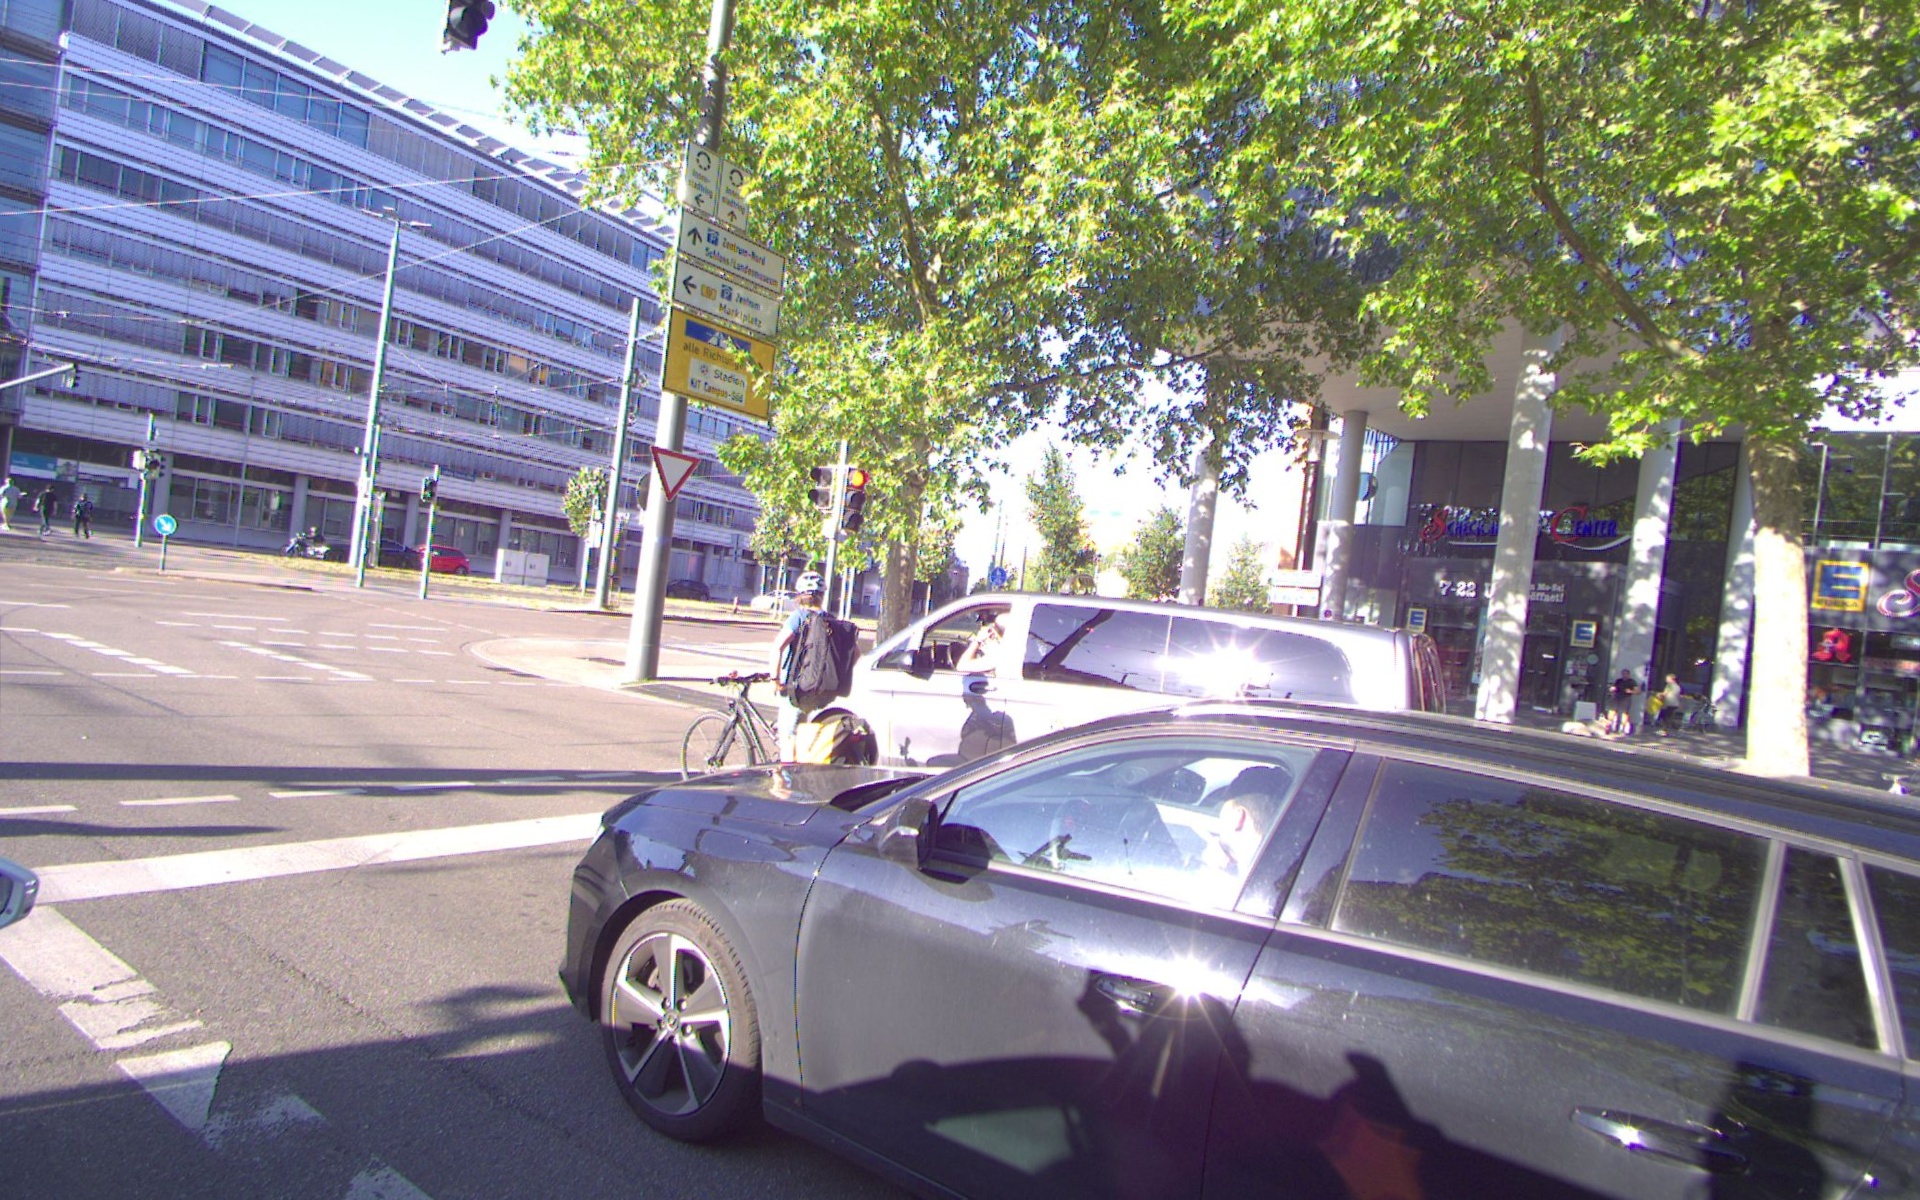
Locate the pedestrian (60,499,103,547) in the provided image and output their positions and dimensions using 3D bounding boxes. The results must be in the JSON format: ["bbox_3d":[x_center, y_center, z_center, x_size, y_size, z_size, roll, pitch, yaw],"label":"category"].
[{"bbox_3d":[-32.330,-2.839,37.017,0.883,1.583,0.947,7,1,39],"label":"pedestrian"}]

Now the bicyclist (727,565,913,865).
[{"bbox_3d":[-0.882,0.693,6.391,0.766,1.714,0.632,7,1,32],"label":"bicyclist"}]

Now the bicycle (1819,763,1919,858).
[{"bbox_3d":[11.204,2.544,12.082,0.437,0.930,1.210,6,0,-39],"label":"bicycle"}]

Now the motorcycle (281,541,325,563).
[{"bbox_3d":[-30.213,-2.191,46.273,0.460,0.820,1.568,7,0,36],"label":"motorcycle"}]

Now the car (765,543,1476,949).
[{"bbox_3d":[1.095,0.840,7.943,5.012,2.004,1.939,7,0,31],"label":"car"}]

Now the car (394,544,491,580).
[{"bbox_3d":[-26.517,-1.916,51.665,1.758,1.411,3.984,7,1,37],"label":"car"}]

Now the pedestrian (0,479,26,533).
[{"bbox_3d":[-33.590,-3.332,35.342,0.858,1.811,0.864,7,1,35],"label":"pedestrian"}]

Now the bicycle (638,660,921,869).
[{"bbox_3d":[-1.224,1.015,6.620,1.839,0.993,0.561,7,1,32],"label":"bicycle"}]

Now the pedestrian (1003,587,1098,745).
[{"bbox_3d":[1.153,0.825,12.752,0.800,1.868,0.642,7,1,30],"label":"pedestrian"}]

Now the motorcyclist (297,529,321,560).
[{"bbox_3d":[-30.066,-2.556,46.429,0.452,1.291,0.712,7,1,36],"label":"motorcyclist"}]

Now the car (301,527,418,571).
[{"bbox_3d":[-27.276,-2.287,45.788,1.758,1.415,4.157,7,0,37],"label":"car"}]

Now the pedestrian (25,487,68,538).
[{"bbox_3d":[-33.595,-3.213,36.992,1.020,1.706,0.912,7,1,39],"label":"pedestrian"}]

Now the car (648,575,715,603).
[{"bbox_3d":[-19.193,-0.752,69.368,1.758,1.415,4.157,7,0,37],"label":"car"}]

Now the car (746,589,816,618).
[{"bbox_3d":[-11.875,0.249,66.996,1.758,1.353,4.605,7,0,37],"label":"car"}]

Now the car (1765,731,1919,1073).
[{"bbox_3d":[6.560,1.732,4.577,4.181,1.503,1.741,7,0,31],"label":"car"}]

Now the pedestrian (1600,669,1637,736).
[{"bbox_3d":[17.450,2.720,26.653,0.598,1.707,0.511,6,1,-41],"label":"pedestrian"}]

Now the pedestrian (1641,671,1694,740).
[{"bbox_3d":[19.332,2.863,27.498,0.704,1.728,0.806,7,1,5],"label":"pedestrian"}]

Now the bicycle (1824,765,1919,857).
[{"bbox_3d":[11.502,2.607,12.354,0.460,0.938,1.210,6,0,-39],"label":"bicycle"}]

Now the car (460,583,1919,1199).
[{"bbox_3d":[0.763,0.951,2.750,4.199,1.431,1.742,7,-2,32],"label":"car"}]

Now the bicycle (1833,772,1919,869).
[{"bbox_3d":[10.545,2.478,11.095,1.233,0.898,0.462,7,1,32],"label":"bicycle"}]
